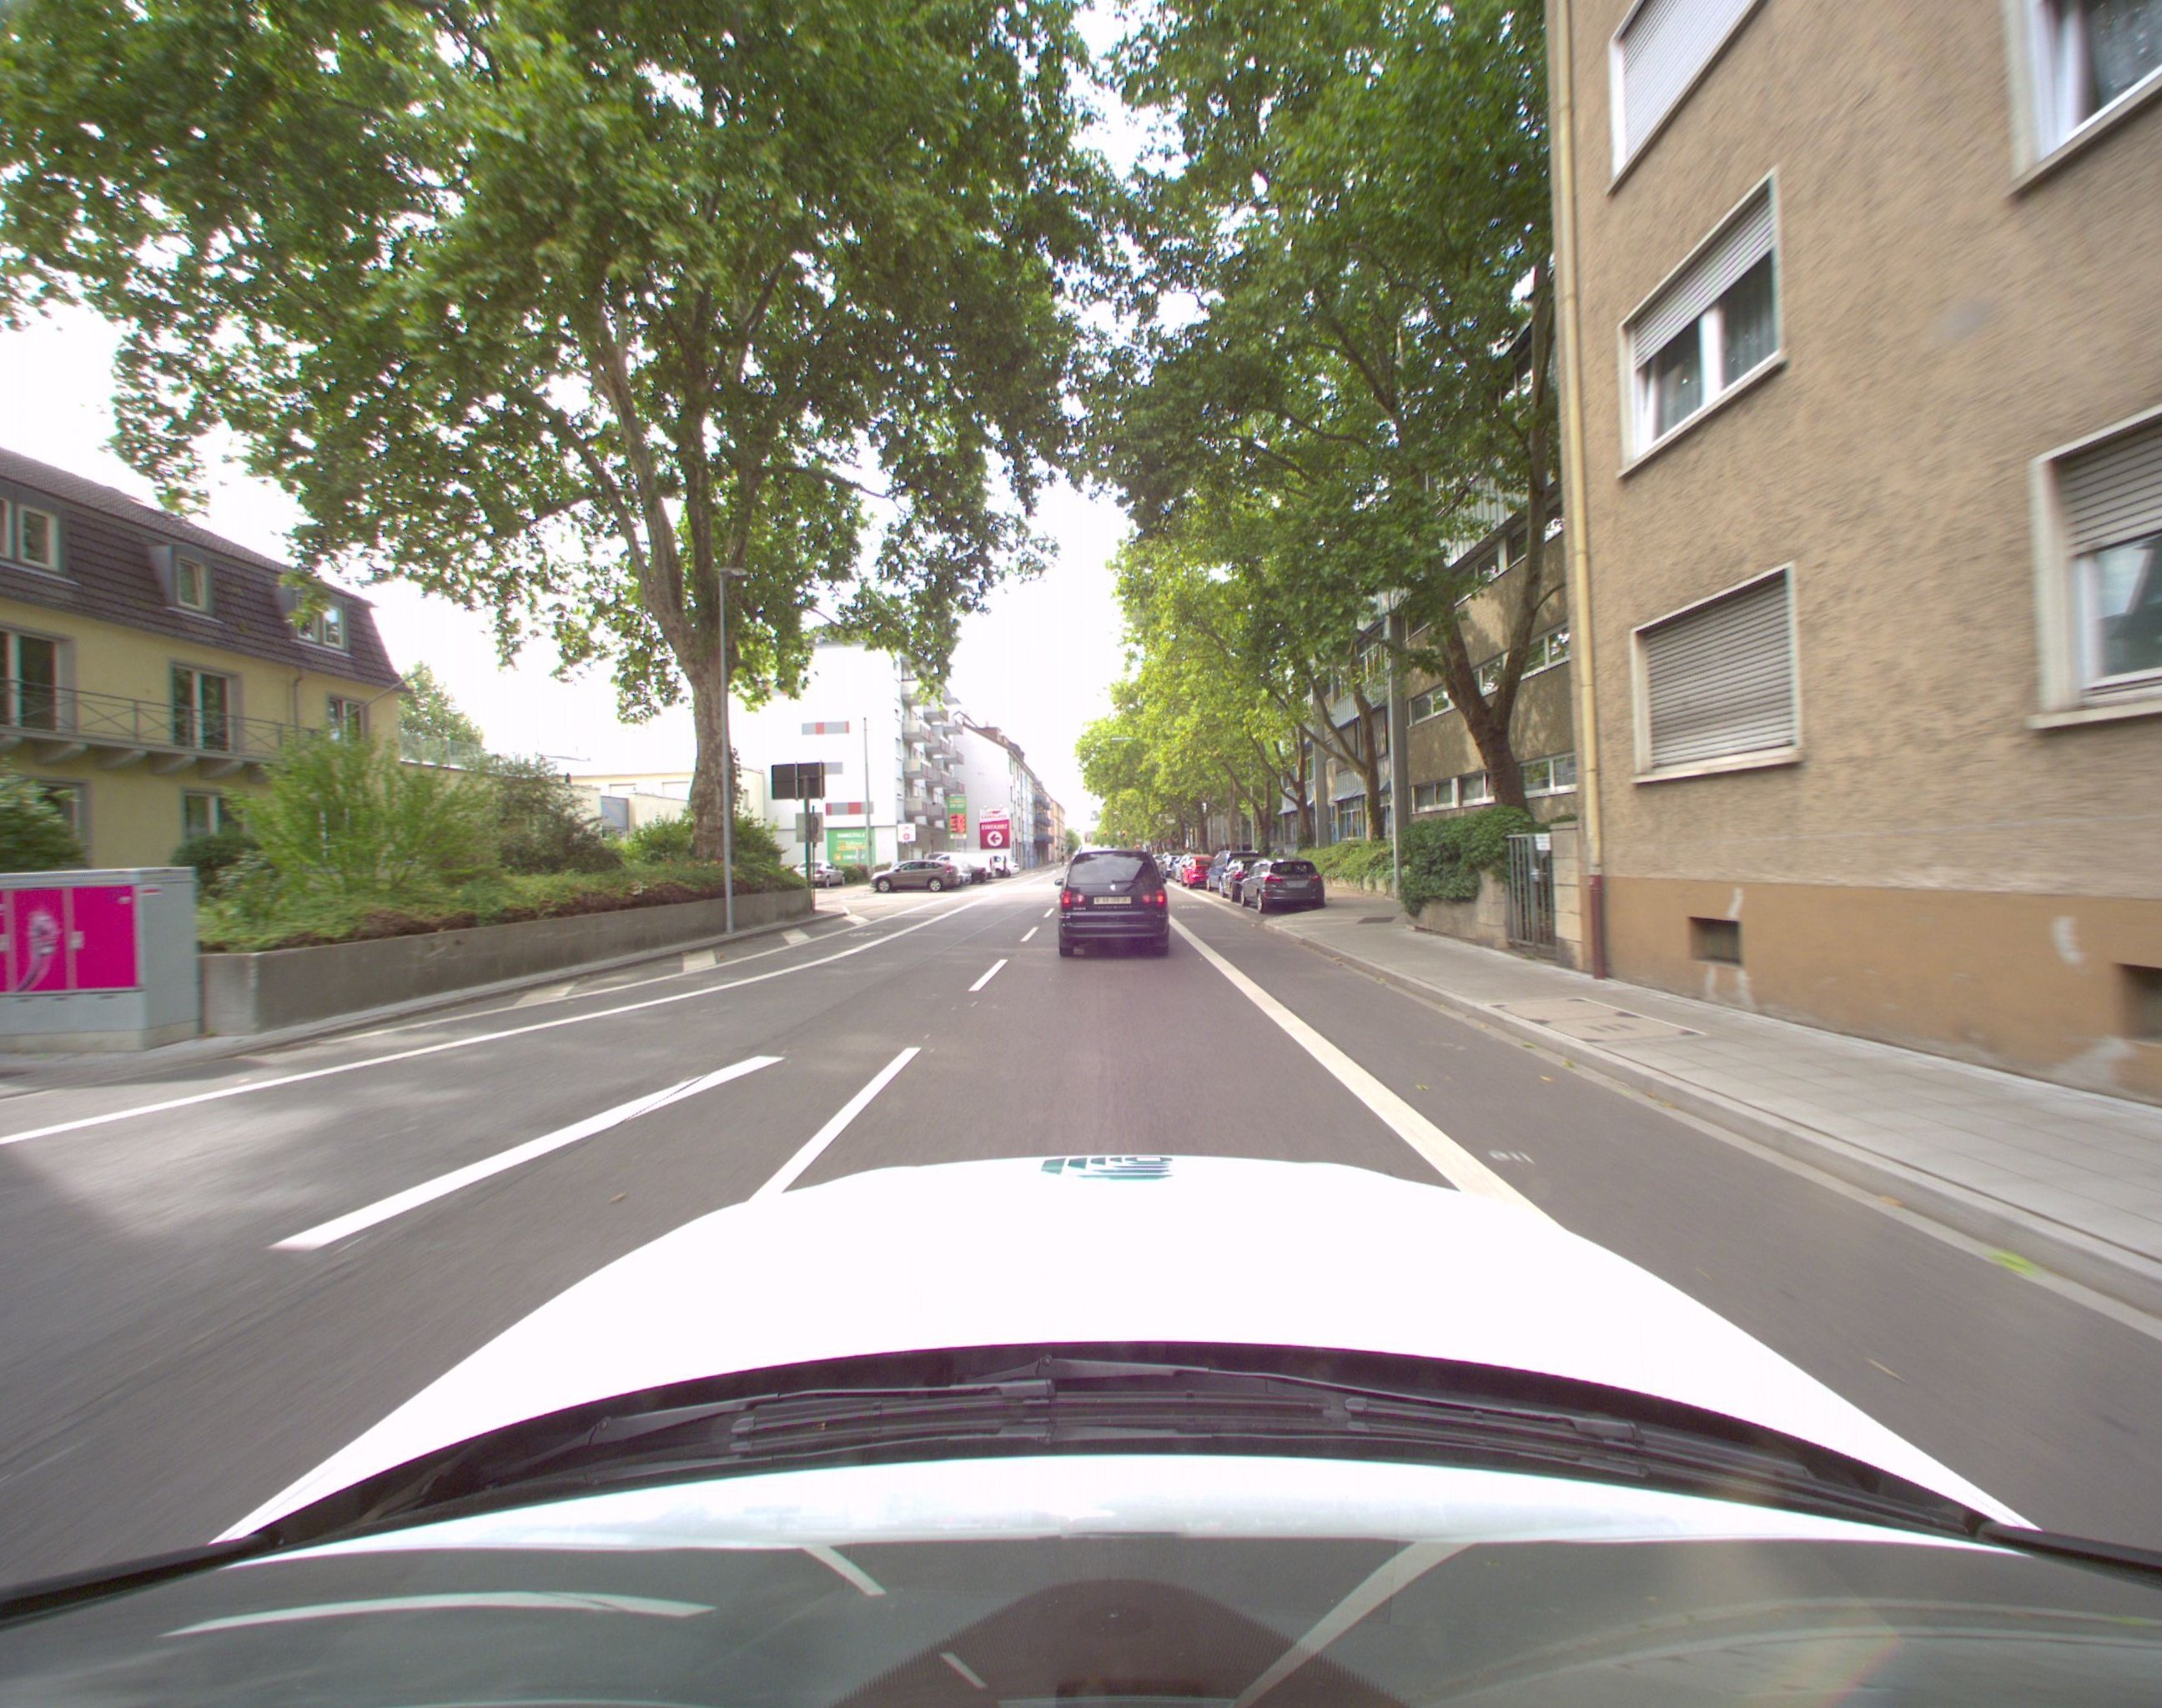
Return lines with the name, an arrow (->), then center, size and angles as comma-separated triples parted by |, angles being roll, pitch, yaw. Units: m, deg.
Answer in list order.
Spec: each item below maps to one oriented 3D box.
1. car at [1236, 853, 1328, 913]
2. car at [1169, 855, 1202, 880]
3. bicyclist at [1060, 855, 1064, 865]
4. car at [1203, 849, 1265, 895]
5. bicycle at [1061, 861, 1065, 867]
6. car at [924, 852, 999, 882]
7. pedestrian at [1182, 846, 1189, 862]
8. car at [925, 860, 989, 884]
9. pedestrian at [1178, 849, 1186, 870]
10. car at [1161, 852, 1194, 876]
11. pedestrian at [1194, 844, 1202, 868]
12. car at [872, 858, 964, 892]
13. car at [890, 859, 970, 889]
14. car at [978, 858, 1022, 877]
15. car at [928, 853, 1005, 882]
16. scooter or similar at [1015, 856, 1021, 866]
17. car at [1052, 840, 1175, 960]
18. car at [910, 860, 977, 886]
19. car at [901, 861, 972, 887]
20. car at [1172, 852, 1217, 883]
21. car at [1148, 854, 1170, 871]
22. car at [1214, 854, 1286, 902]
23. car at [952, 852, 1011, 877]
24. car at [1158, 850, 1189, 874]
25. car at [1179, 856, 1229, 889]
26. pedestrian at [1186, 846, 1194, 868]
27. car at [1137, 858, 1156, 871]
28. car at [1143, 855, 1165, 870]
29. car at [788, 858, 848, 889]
car -> 5.499, 0.746, 22.772 | 1.652, 1.422, 3.867 | -2, 1, 1
car -> 6.144, 0.754, 48.370 | 1.615, 1.386, 4.003 | 1, 0, 3
bicyclist -> -2.979, 0.954, 129.827 | 0.651, 1.611, 0.656 | -1, -3, -1
car -> 5.988, 0.660, 32.325 | 1.652, 1.650, 4.419 | 0, 1, 0
bicycle -> -2.902, 1.595, 129.551 | 0.629, 1.034, 2.014 | -1, -3, -1
car -> -7.734, 0.848, 53.036 | 4.509, 1.878, 2.048 | 0, 0, 2
pedestrian -> 12.451, 0.030, 97.387 | 0.764, 1.831, 0.516 | -1, 0, 2
car -> -7.640, 1.089, 50.350 | 3.669, 1.444, 1.753 | 0, 0, 0
pedestrian -> 8.326, 0.416, 67.059 | 0.585, 1.701, 0.508 | 0, 1, 2
car -> 6.264, 0.642, 53.193 | 1.624, 1.470, 4.317 | -1, 0, 1
pedestrian -> 9.597, 0.143, 66.824 | 0.640, 1.975, 0.693 | 0, 1, 2
car -> -8.282, 1.044, 41.642 | 4.240, 1.605, 1.969 | 0, 1, 2
car -> -8.144, 1.059, 44.093 | 3.923, 1.569, 1.755 | 0, 0, 3
car -> -6.434, 1.053, 64.721 | 3.332, 1.497, 1.596 | 0, -1, -1
car -> -7.795, 0.873, 55.708 | 4.899, 1.903, 2.000 | 1, 0, 0
scooter or similar -> -6.612, 0.729, 85.529 | 0.630, 1.034, 2.012 | 0, -2, -4
car -> 0.510, 0.696, 14.031 | 1.806, 1.766, 3.738 | -1, 0, 1
car -> -8.117, 1.131, 48.388 | 3.670, 1.485, 1.753 | 0, 0, 0
car -> -8.118, 1.124, 46.096 | 3.670, 1.426, 1.753 | 0, 0, 0
car -> 5.963, 0.697, 43.176 | 1.722, 1.517, 4.871 | -1, 0, 1
car -> 6.816, 0.734, 71.708 | 1.669, 1.394, 4.463 | 0, 0, 2
car -> 5.648, 0.755, 27.626 | 1.652, 1.422, 3.948 | -2, 1, 1
car -> -7.574, 0.792, 62.180 | 4.293, 1.870, 1.824 | 0, 0, 0
car -> 6.555, 0.534, 58.248 | 1.663, 1.640, 4.503 | 1, 0, 0
car -> 5.604, 0.814, 37.498 | 1.670, 1.394, 4.461 | -1, 0, 1
pedestrian -> 8.974, 0.260, 67.176 | 0.585, 1.838, 0.693 | 0, 1, 2
car -> 7.027, 1.127, 87.393 | 1.637, 1.413, 3.413 | 0, 0, -2
car -> 6.776, 0.789, 75.860 | 1.637, 1.413, 3.413 | 0, 0, -2
car -> -14.164, 1.025, 44.049 | 1.751, 1.518, 4.236 | 0, 0, 2
